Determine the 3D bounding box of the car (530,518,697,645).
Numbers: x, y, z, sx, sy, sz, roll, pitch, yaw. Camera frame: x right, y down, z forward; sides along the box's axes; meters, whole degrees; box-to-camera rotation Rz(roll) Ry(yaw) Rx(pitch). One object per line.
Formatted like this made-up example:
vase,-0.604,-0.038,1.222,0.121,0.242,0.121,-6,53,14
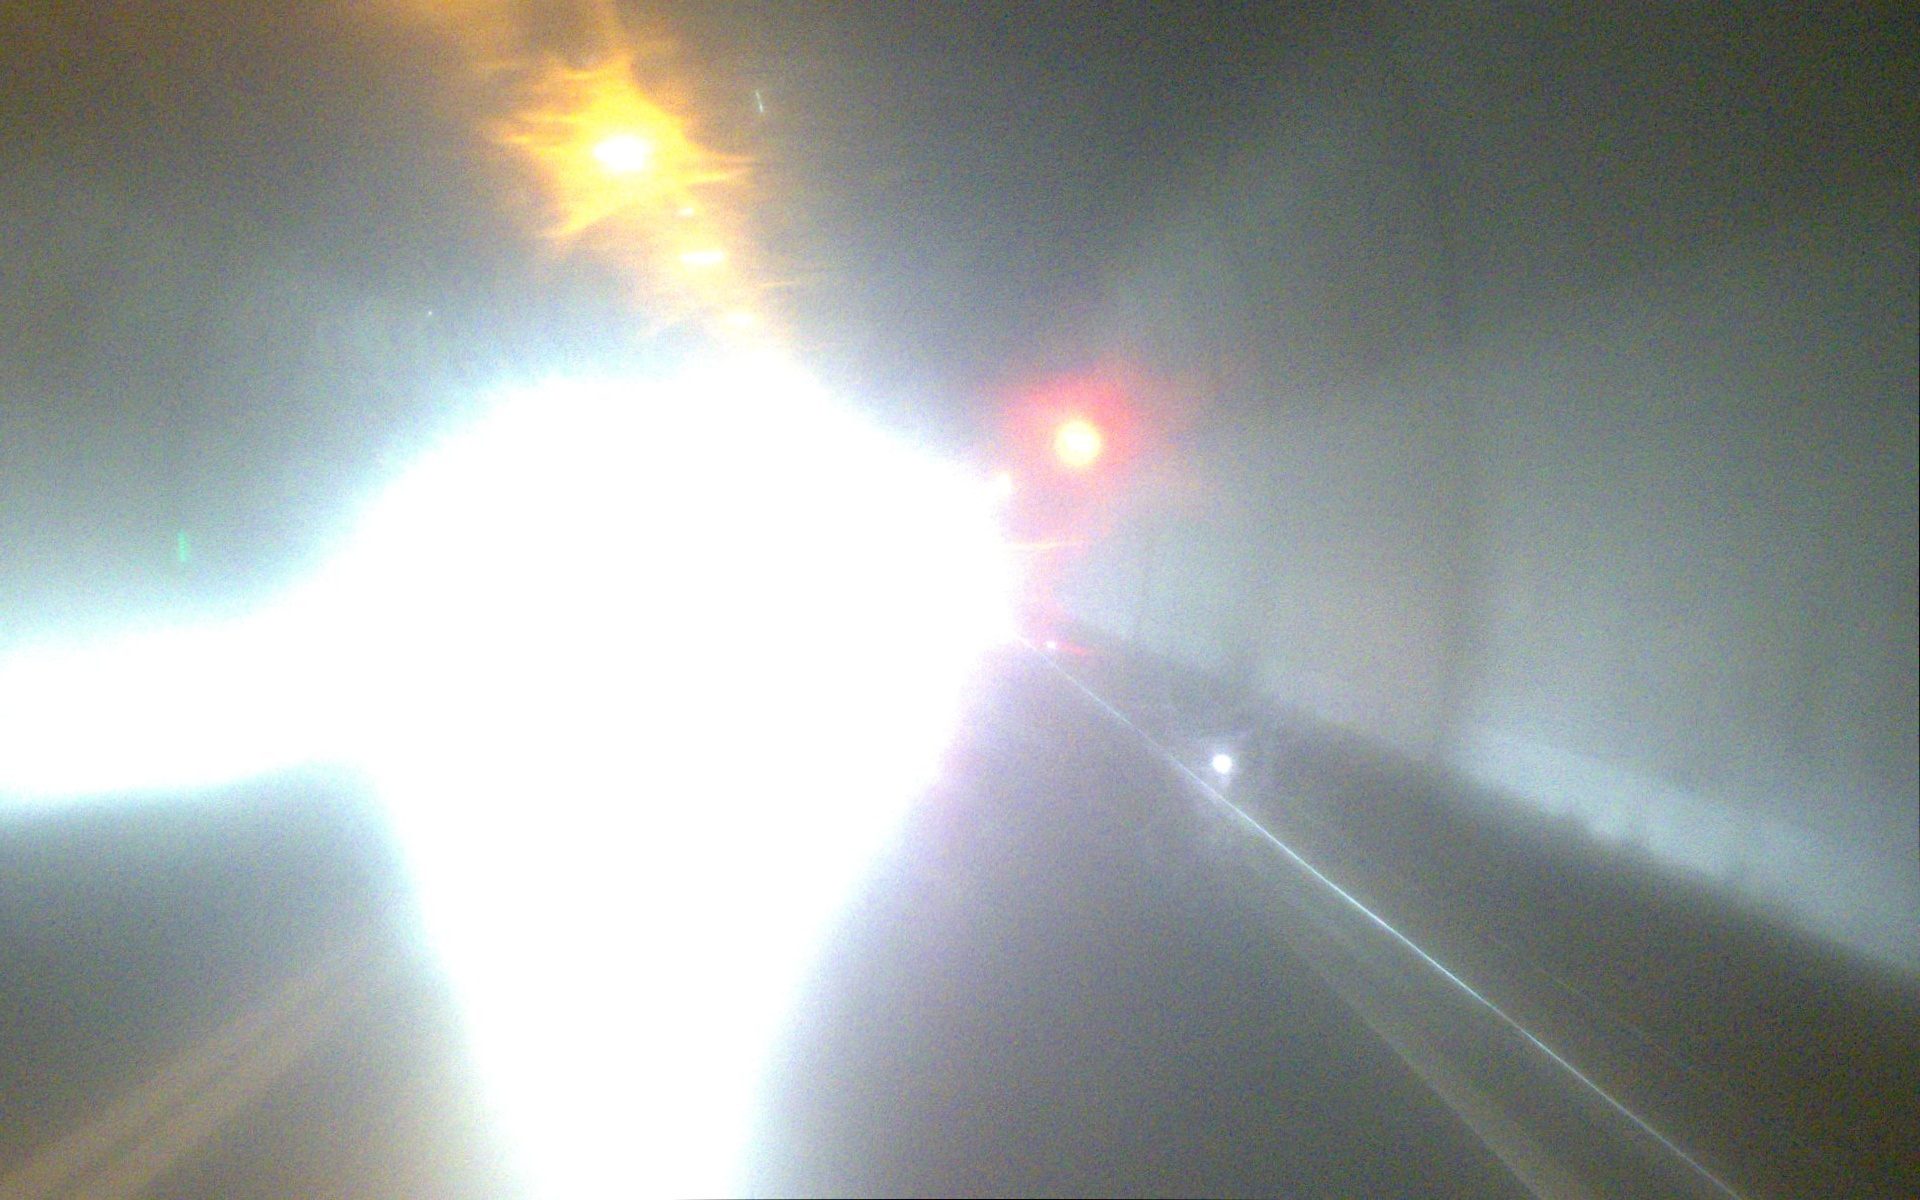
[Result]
car,-4.194,-0.260,42.079,1.794,1.477,3.869,0,1,-2

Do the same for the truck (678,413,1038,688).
truck,-1.066,-0.563,38.514,3.535,2.684,8.956,-1,1,-1

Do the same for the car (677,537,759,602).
car,-5.984,-0.767,85.304,1.756,1.523,3.815,2,1,-1
